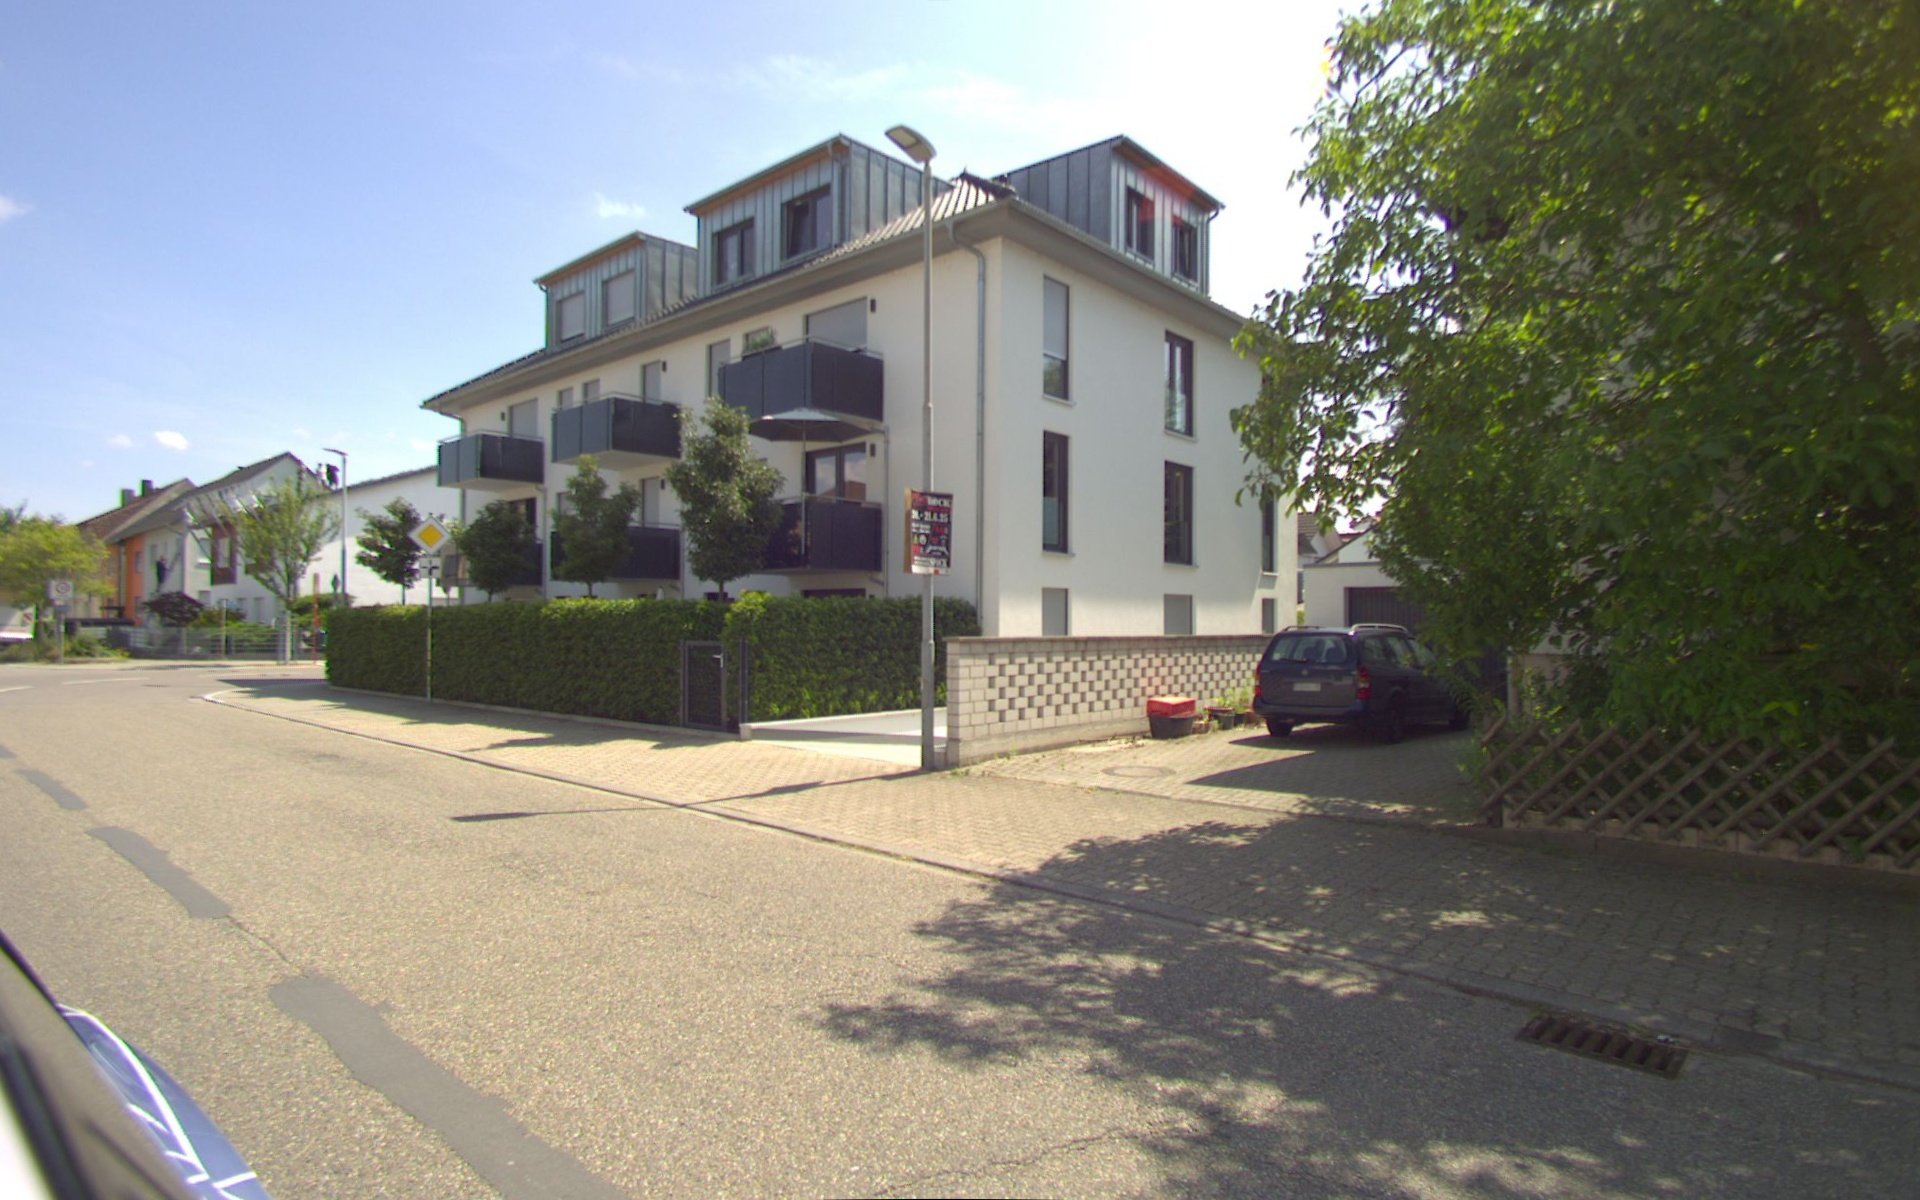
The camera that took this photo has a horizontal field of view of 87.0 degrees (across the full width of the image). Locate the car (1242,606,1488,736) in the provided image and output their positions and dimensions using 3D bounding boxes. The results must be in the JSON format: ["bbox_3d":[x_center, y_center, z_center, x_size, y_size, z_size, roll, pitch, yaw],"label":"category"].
[{"bbox_3d":[5.606,0.906,13.784,1.794,1.503,3.869,-3,-3,43],"label":"car"}]

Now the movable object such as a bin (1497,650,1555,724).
[{"bbox_3d":[7.479,1.136,13.363,0.528,0.907,0.620,-1,0,43],"label":"movable object such as a bin"}]

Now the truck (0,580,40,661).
[{"bbox_3d":[-42.075,0.887,43.595,7.030,3.271,2.413,-1,-5,40],"label":"truck"}]
